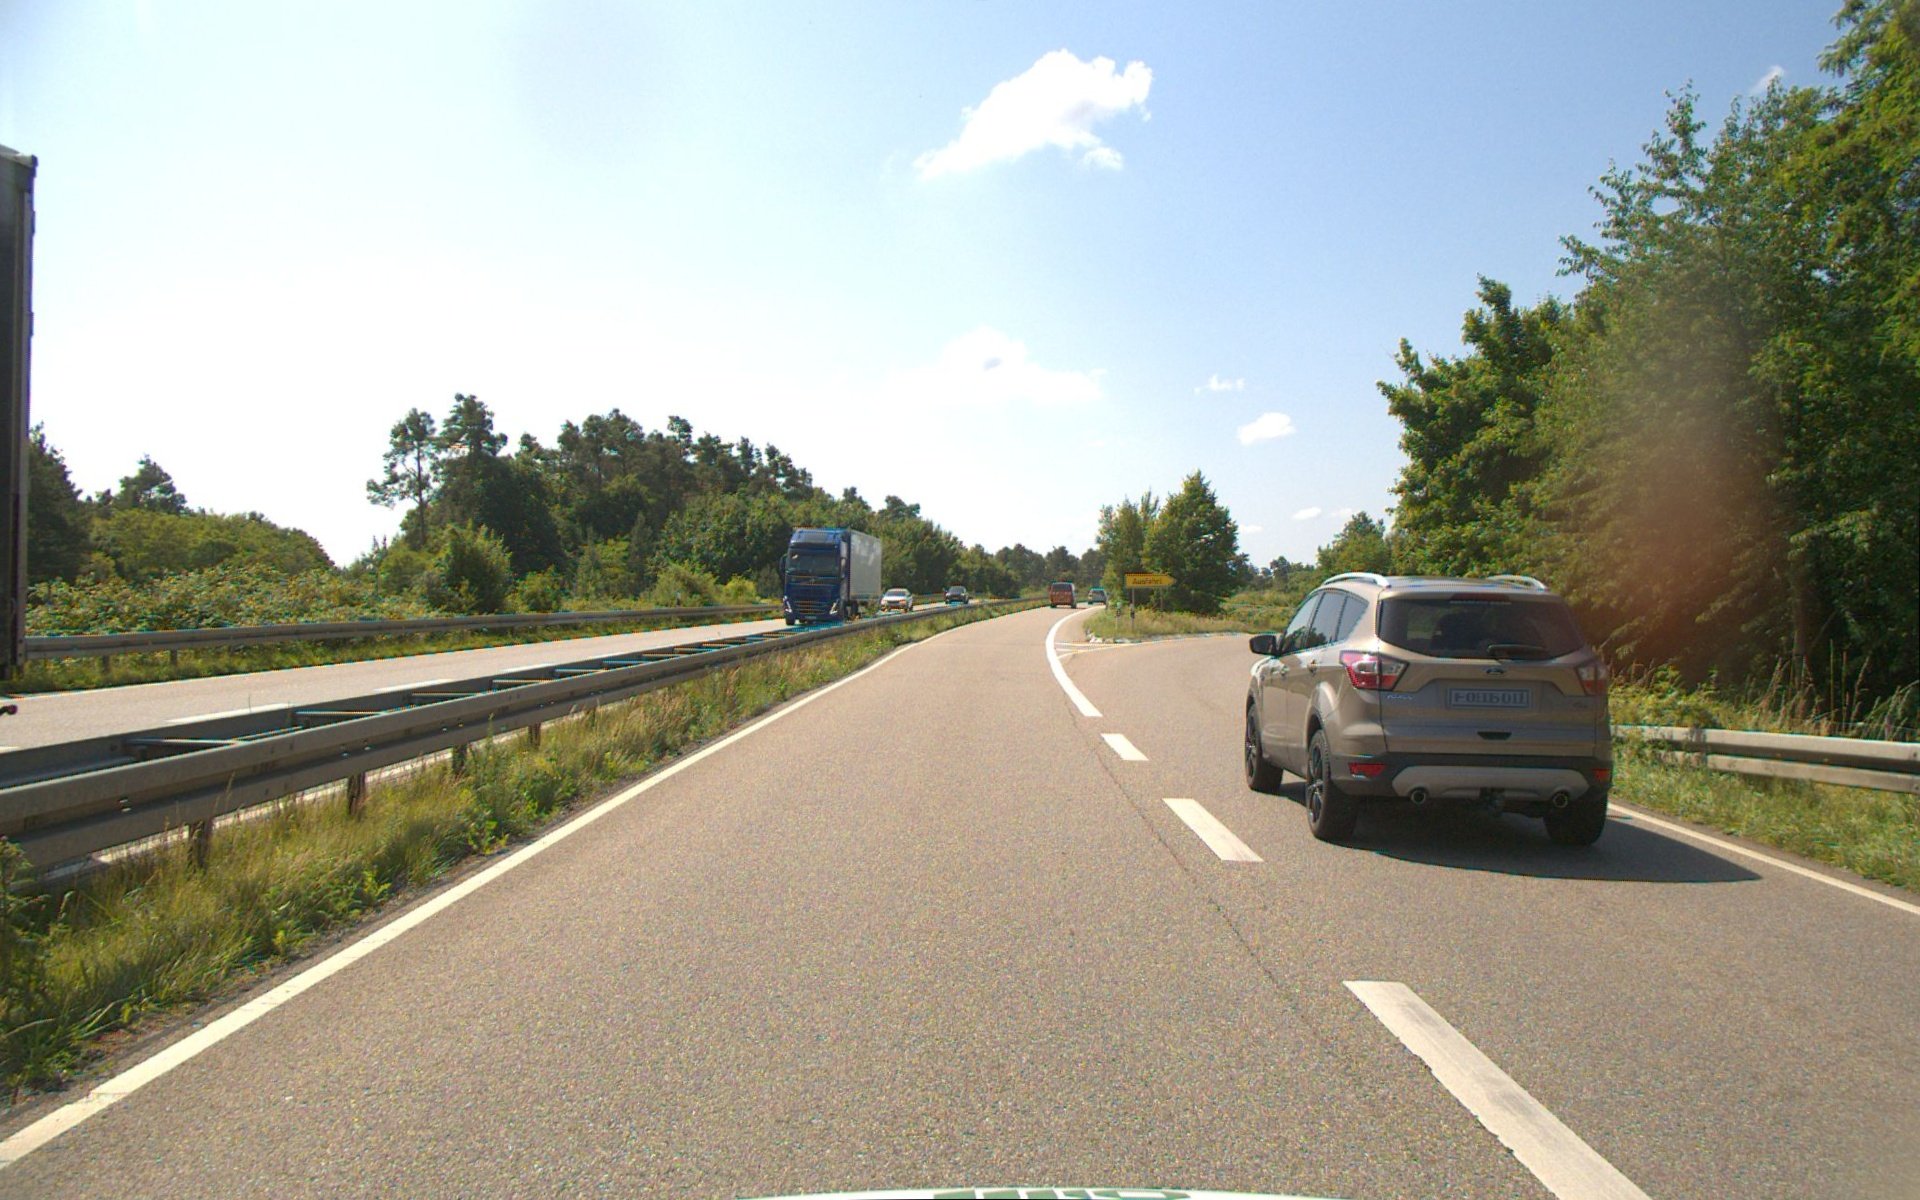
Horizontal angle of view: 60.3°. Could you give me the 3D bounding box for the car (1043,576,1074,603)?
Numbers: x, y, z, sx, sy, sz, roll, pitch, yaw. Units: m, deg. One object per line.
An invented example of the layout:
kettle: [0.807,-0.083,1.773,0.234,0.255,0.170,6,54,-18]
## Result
car: [7.793,-0.774,130.121,2.033,2.028,5.115,1,0,8]

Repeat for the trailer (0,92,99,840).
trailer: [-6.790,-0.753,3.428,2.613,4.261,14.062,1,0,0]

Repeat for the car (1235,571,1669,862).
car: [3.278,0.657,12.052,1.855,1.695,4.667,0,1,1]

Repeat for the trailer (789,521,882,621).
trailer: [-5.675,-1.253,77.898,2.688,4.245,14.587,1,0,2]

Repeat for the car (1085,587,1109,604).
car: [12.945,-0.377,156.329,1.964,1.520,4.242,1,0,8]

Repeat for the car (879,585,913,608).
car: [-4.253,-0.234,110.779,1.756,1.469,4.609,1,0,4]

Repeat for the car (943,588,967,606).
car: [-0.431,-0.301,146.088,1.718,1.527,4.576,1,0,4]

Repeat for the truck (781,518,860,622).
truck: [-5.922,-1.252,71.018,2.710,4.260,5.599,1,0,2]
